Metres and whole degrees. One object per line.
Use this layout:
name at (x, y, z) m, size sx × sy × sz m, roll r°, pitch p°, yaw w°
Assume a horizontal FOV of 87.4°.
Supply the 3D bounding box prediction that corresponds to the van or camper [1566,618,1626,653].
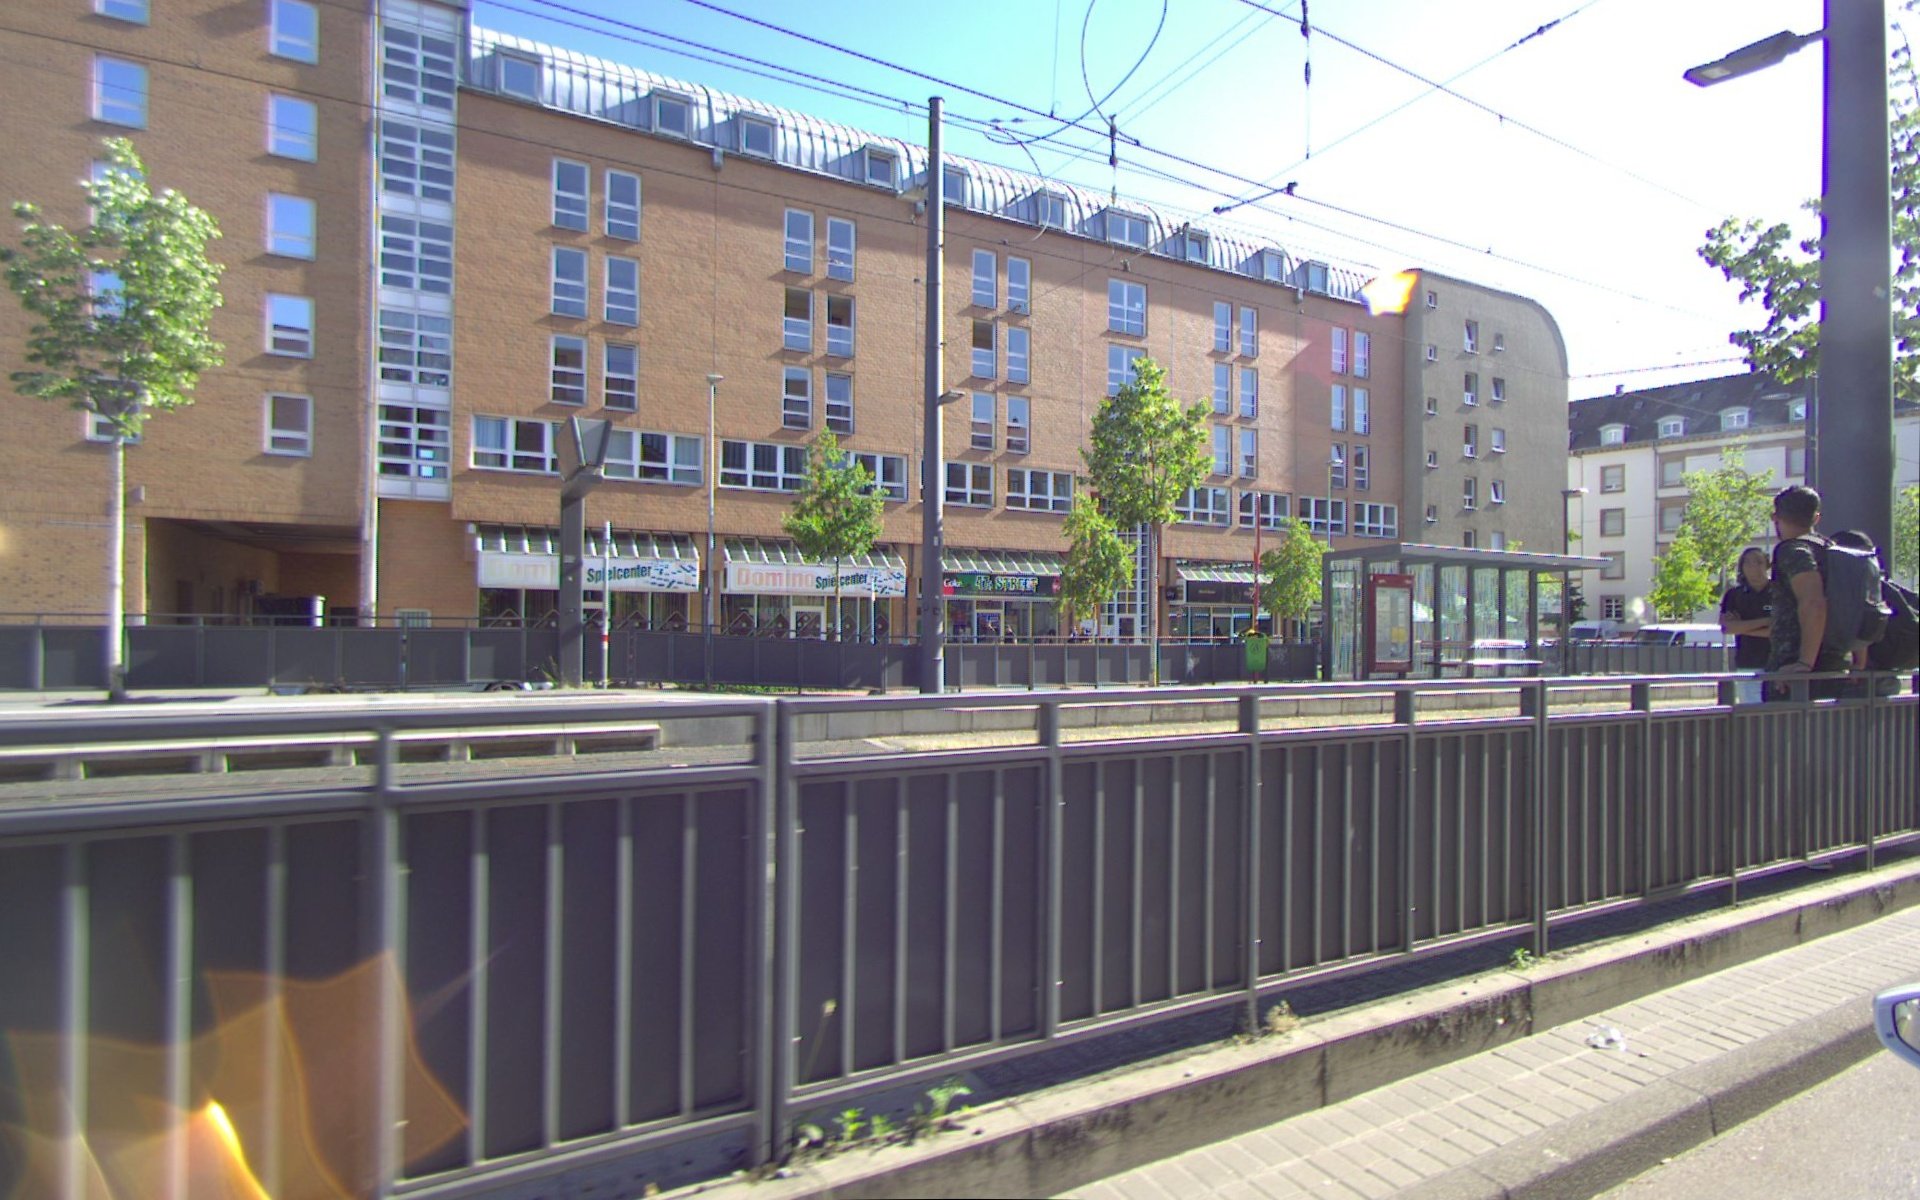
van or camper at (45.721, 2.569, 72.122) m, size 5.908 × 2.432 × 1.977 m, roll 2°, pitch -2°, yaw -40°

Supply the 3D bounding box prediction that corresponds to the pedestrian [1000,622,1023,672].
pedestrian at (1.979, 1.791, 38.402) m, size 0.637 × 1.864 × 0.617 m, roll 1°, pitch -2°, yaw -30°

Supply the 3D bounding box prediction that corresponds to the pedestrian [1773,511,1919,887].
pedestrian at (4.739, 0.478, 5.099) m, size 0.707 × 1.771 × 0.742 m, roll 1°, pitch -2°, yaw -29°

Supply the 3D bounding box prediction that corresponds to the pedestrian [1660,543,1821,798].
pedestrian at (5.710, 0.497, 7.365) m, size 0.743 × 1.746 × 0.705 m, roll 1°, pitch -2°, yaw -30°

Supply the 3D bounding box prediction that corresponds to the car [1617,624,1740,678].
car at (33.390, 2.330, 46.676) m, size 5.561 × 2.401 × 1.990 m, roll 1°, pitch -1°, yaw -21°

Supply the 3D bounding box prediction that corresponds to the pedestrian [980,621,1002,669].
pedestrian at (1.232, 1.776, 39.702) m, size 0.637 × 1.864 × 0.617 m, roll 1°, pitch -2°, yaw -30°

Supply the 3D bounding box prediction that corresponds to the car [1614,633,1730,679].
car at (25.400, 1.982, 35.822) m, size 3.953 × 1.483 × 1.869 m, roll 2°, pitch 0°, yaw -30°

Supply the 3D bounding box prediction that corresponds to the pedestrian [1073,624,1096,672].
pedestrian at (4.930, 1.905, 39.795) m, size 0.637 × 1.864 × 0.617 m, roll 1°, pitch -2°, yaw -30°

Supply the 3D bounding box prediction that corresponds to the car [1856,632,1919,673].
car at (43.195, 2.396, 46.029) m, size 3.952 × 1.706 × 1.985 m, roll 2°, pitch 0°, yaw -29°

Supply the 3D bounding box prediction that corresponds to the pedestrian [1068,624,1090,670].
pedestrian at (4.868, 1.915, 41.093) m, size 0.637 × 1.864 × 0.618 m, roll 1°, pitch -2°, yaw -29°

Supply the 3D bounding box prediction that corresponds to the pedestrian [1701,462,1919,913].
pedestrian at (4.114, 0.384, 4.759) m, size 0.707 × 1.909 × 0.742 m, roll 1°, pitch -2°, yaw -29°
